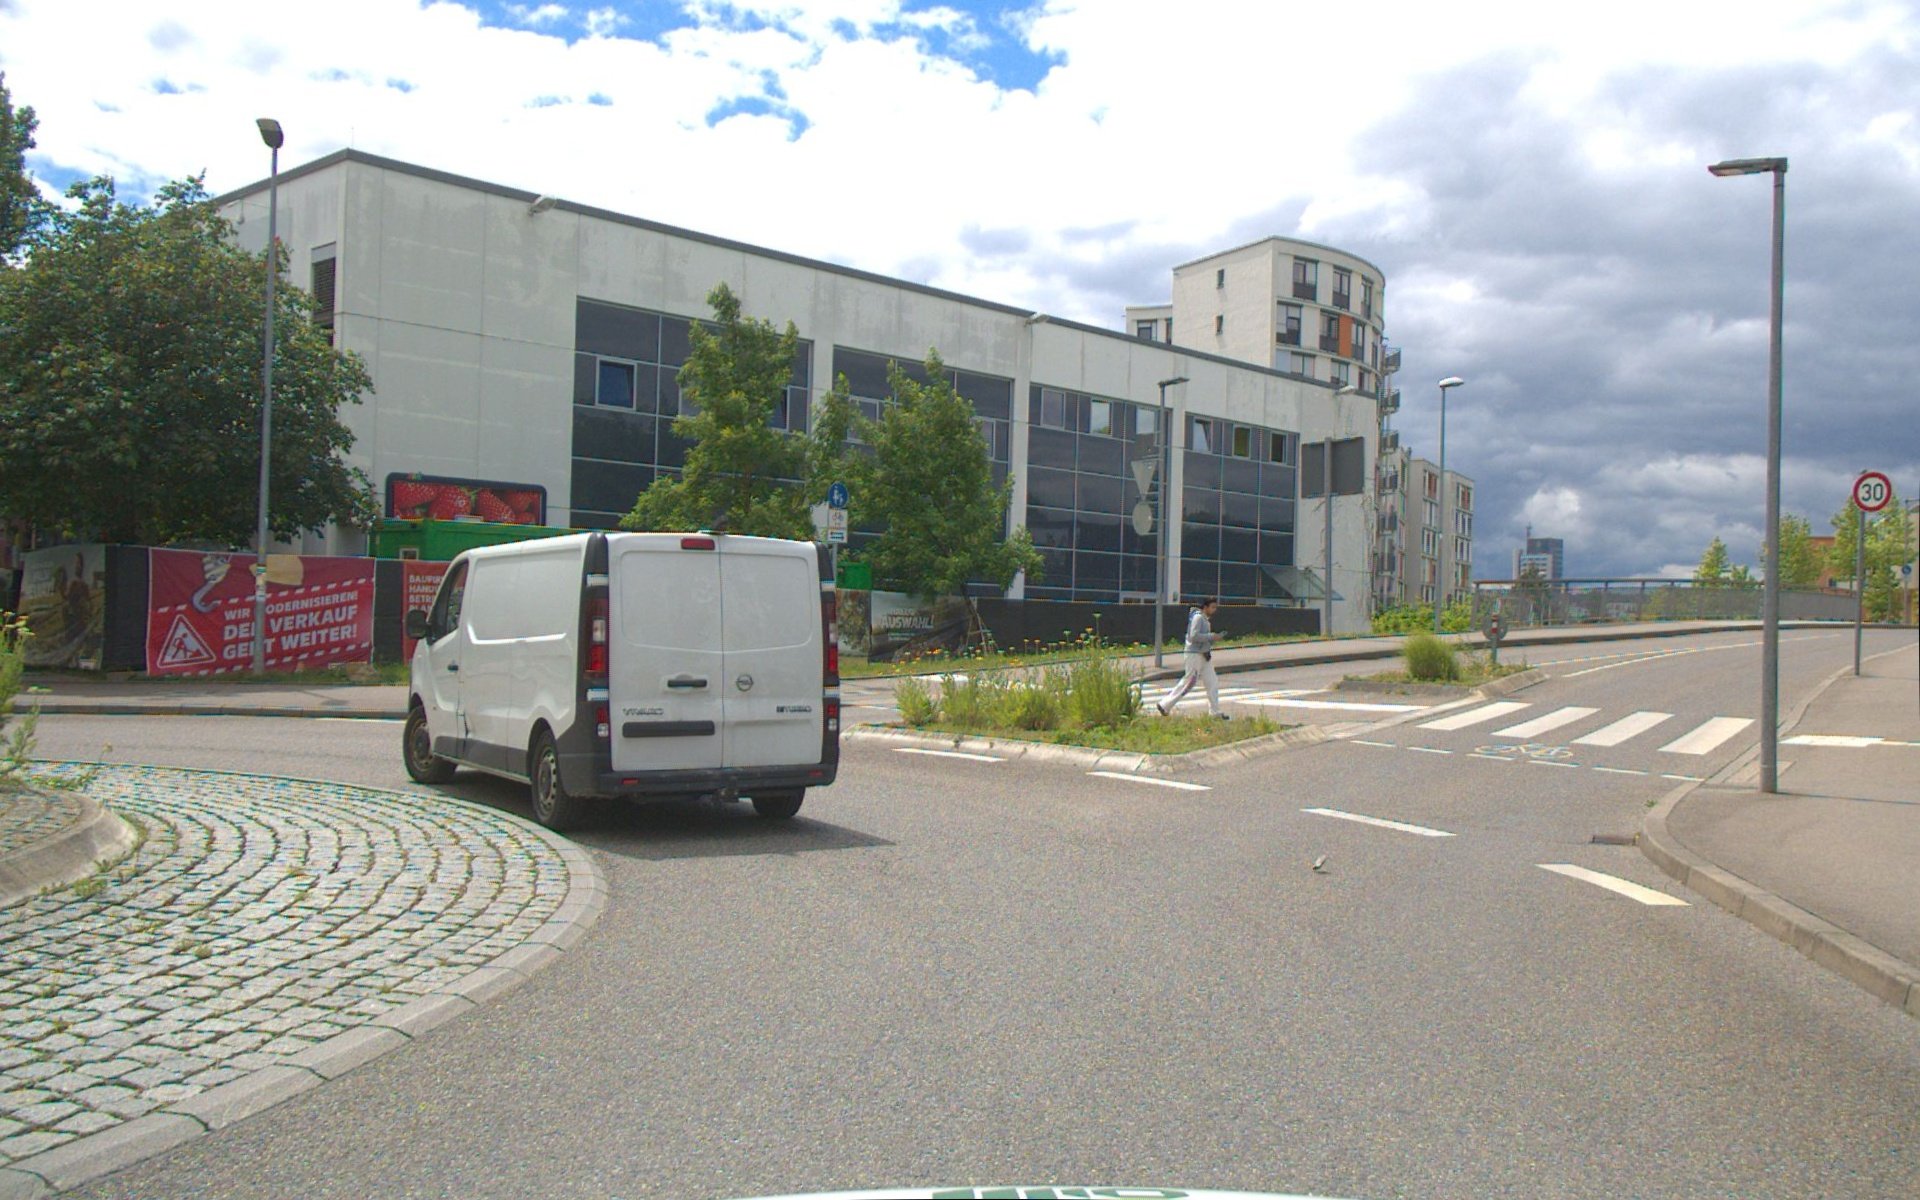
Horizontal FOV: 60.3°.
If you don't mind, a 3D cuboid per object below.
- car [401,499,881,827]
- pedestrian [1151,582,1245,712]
[{"bbox_3d":[-2.666,0.430,12.624,2.013,1.979,4.942,4,-2,-30],"label":"car"},{"bbox_3d":[3.010,0.591,20.988,1.013,1.568,0.895,3,-2,0],"label":"pedestrian"}]
